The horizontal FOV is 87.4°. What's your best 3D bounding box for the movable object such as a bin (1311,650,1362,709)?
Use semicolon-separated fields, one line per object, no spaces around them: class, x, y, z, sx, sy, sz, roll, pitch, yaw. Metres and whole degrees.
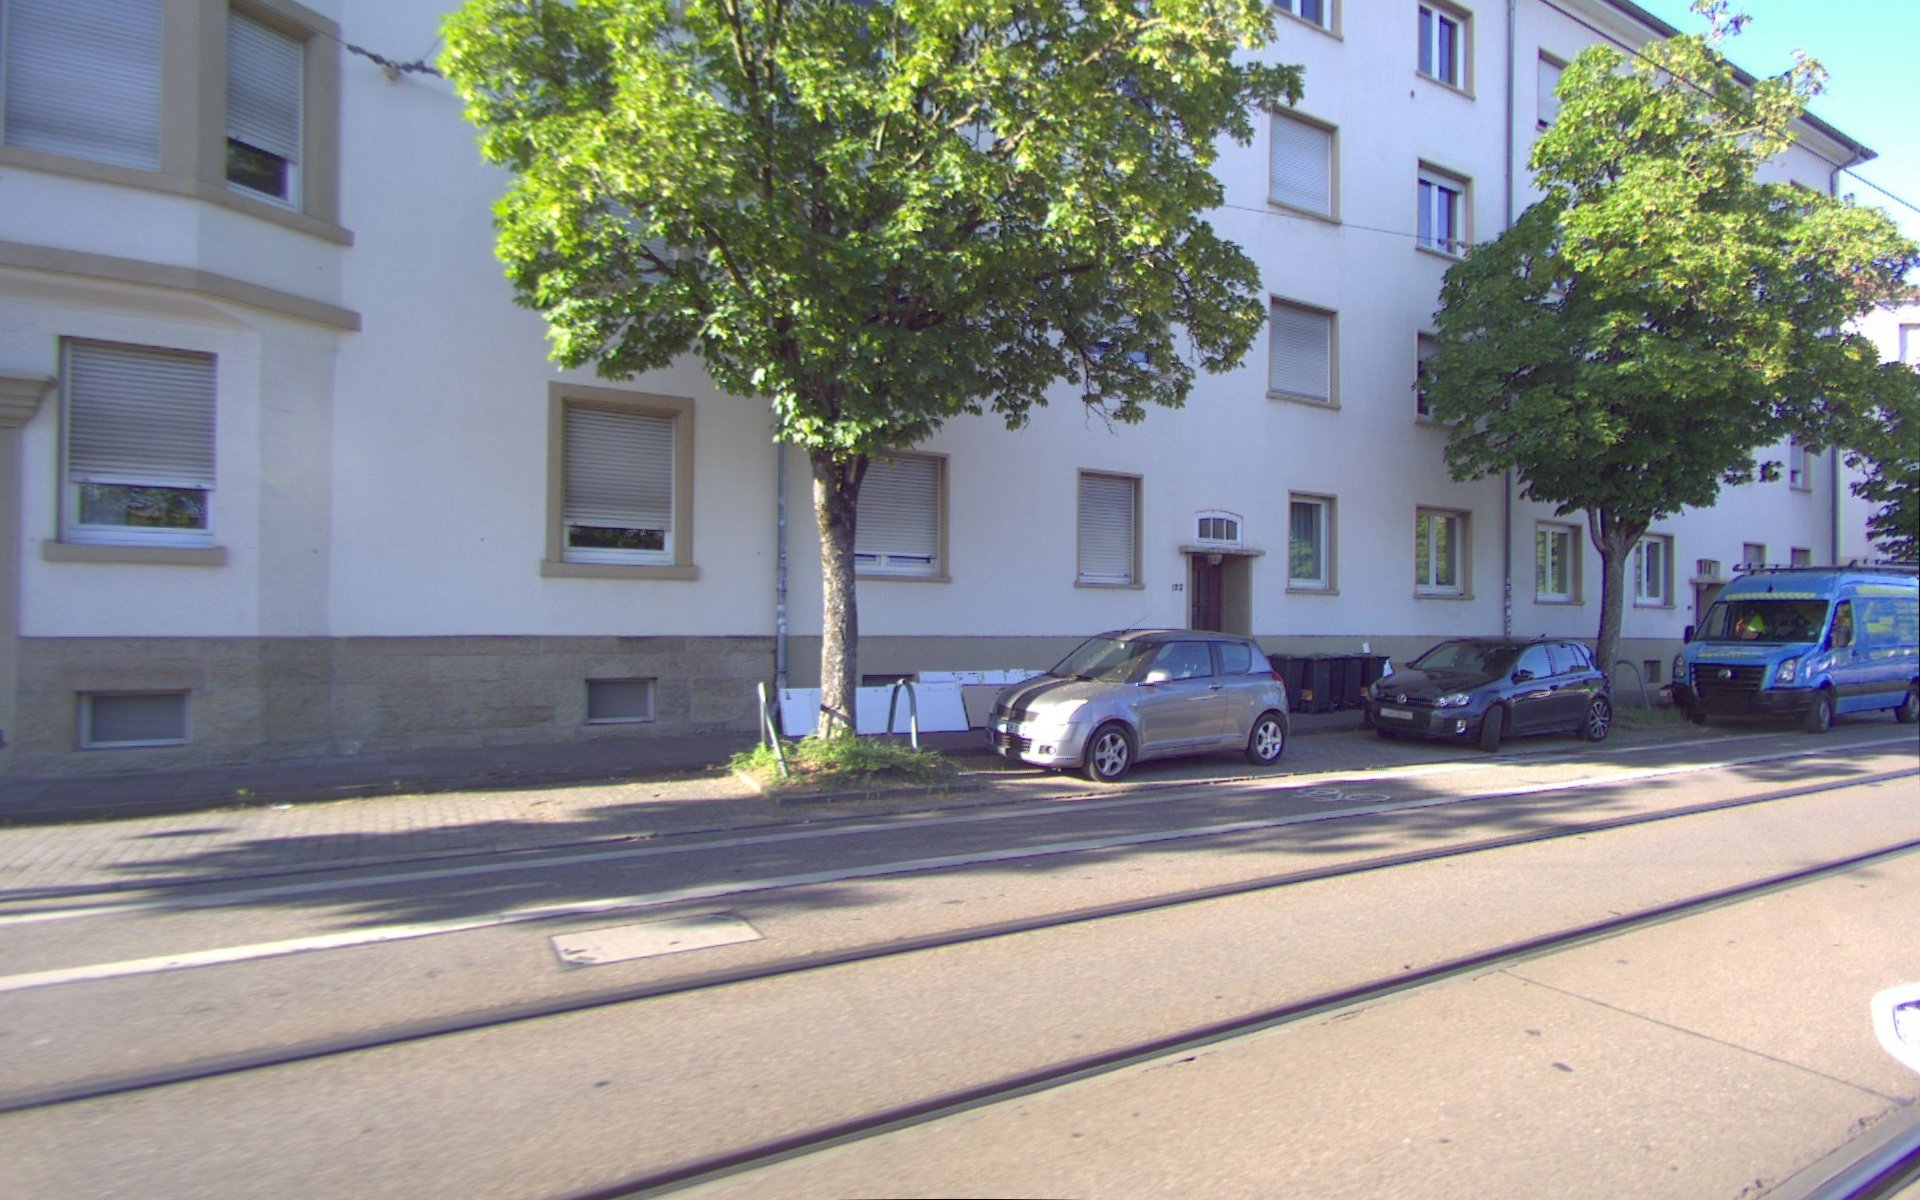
movable object such as a bin;6.273;1.313;16.746;0.563;0.947;0.593;1;-2;-32

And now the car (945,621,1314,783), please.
car;1.962;1.044;11.314;3.953;1.511;1.644;2;0;-30

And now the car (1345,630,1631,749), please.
car;7.556;1.190;14.292;4.140;1.444;1.644;2;0;-30

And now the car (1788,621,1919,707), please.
car;20.501;1.362;22.253;4.588;1.582;1.781;2;4;-31

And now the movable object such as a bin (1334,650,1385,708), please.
movable object such as a bin;6.782;1.328;17.068;0.563;0.947;0.593;1;-2;-32

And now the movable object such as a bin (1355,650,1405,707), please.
movable object such as a bin;7.276;1.343;17.402;0.563;0.947;0.593;1;-2;-32

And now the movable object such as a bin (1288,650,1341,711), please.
movable object such as a bin;5.790;1.298;16.411;0.563;0.947;0.593;1;-2;-32

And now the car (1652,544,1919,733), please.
car;14.791;0.648;17.552;5.959;2.863;2.008;2;0;-29

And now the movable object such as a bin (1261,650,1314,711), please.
movable object such as a bin;5.261;1.283;16.153;0.563;0.947;0.593;1;-2;-32
